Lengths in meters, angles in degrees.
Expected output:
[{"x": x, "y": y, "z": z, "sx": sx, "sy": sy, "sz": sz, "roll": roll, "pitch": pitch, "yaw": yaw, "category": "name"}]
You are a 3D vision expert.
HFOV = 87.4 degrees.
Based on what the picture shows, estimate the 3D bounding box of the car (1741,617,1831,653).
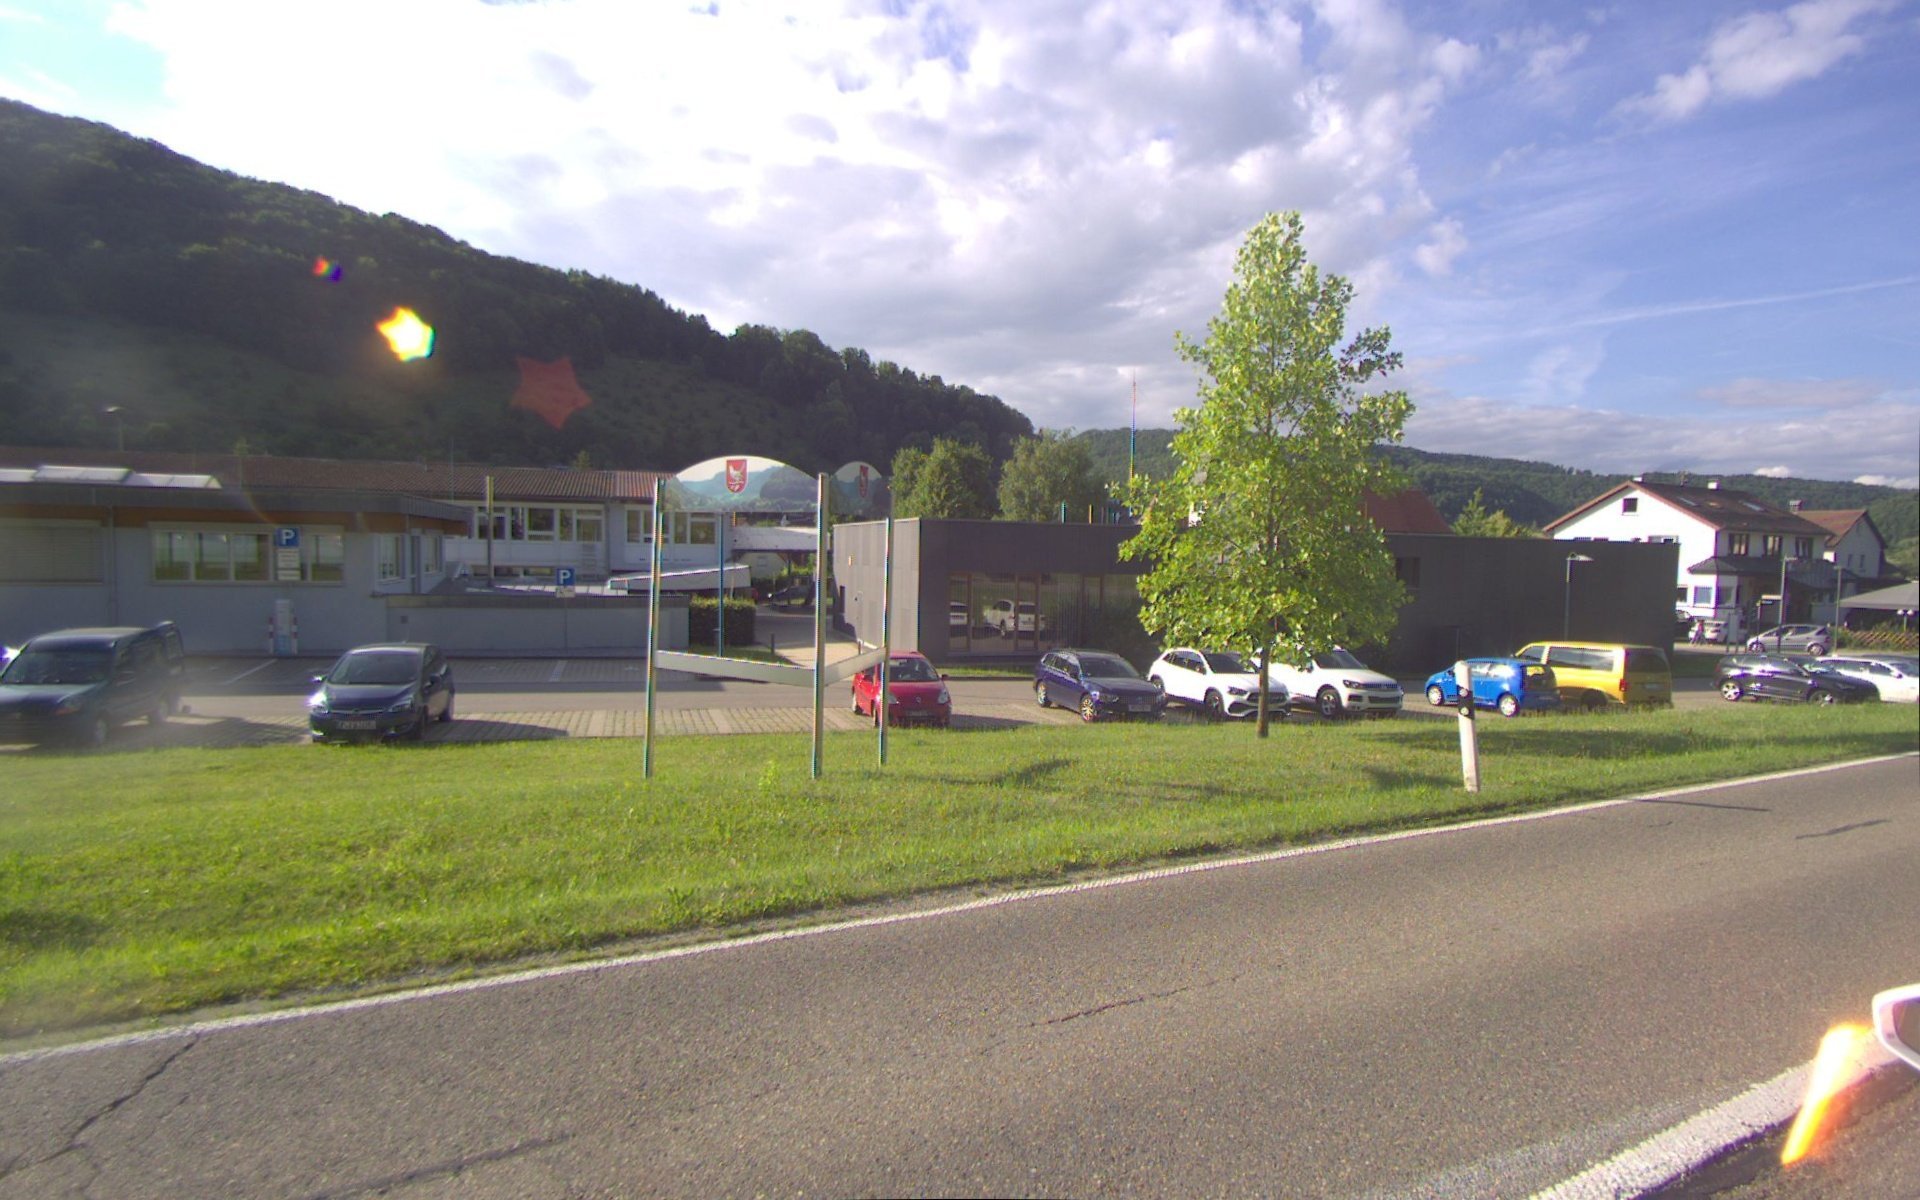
[{"x": 43.404, "y": 1.818, "z": 52.790, "sx": 1.728, "sy": 1.684, "sz": 3.428, "roll": 2, "pitch": 0, "yaw": -42, "category": "car"}]

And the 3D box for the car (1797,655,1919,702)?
[{"x": 32.172, "y": 2.732, "z": 35.235, "sx": 1.736, "sy": 1.327, "sz": 3.976, "roll": 2, "pitch": 0, "yaw": -24, "category": "car"}]

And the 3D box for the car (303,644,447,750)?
[{"x": -10.572, "y": 1.670, "z": 18.435, "sx": 1.660, "sy": 1.471, "sz": 4.000, "roll": -1, "pitch": 1, "yaw": -21, "category": "car"}]

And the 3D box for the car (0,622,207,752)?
[{"x": -15.153, "y": 1.396, "z": 17.710, "sx": 1.660, "sy": 1.817, "sz": 4.982, "roll": 2, "pitch": 0, "yaw": -21, "category": "car"}]

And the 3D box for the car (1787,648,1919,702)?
[{"x": 30.785, "y": 2.487, "z": 33.407, "sx": 1.852, "sy": 1.513, "sz": 4.807, "roll": 2, "pitch": 0, "yaw": -20, "category": "car"}]

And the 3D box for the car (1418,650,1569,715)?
[{"x": 14.787, "y": 2.261, "z": 28.023, "sx": 1.609, "sy": 1.492, "sz": 3.487, "roll": 2, "pitch": 0, "yaw": -22, "category": "car"}]

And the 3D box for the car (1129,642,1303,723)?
[{"x": 6.172, "y": 1.962, "z": 24.826, "sx": 1.970, "sy": 1.575, "sz": 4.533, "roll": 2, "pitch": 0, "yaw": -20, "category": "car"}]

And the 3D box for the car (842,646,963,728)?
[{"x": -1.335, "y": 1.805, "z": 21.649, "sx": 1.591, "sy": 1.416, "sz": 3.716, "roll": 2, "pitch": 0, "yaw": -20, "category": "car"}]

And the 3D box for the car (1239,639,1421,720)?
[{"x": 9.452, "y": 1.988, "z": 26.112, "sx": 1.970, "sy": 1.725, "sz": 4.533, "roll": 2, "pitch": 0, "yaw": -20, "category": "car"}]

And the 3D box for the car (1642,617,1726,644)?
[{"x": 43.429, "y": 1.842, "z": 60.262, "sx": 3.926, "sy": 1.461, "sz": 1.768, "roll": 2, "pitch": 0, "yaw": -8, "category": "car"}]

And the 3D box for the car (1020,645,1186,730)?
[{"x": 3.225, "y": 1.978, "z": 23.725, "sx": 1.970, "sy": 1.575, "sz": 4.533, "roll": 2, "pitch": 0, "yaw": -20, "category": "car"}]

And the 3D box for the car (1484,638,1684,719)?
[{"x": 17.397, "y": 2.125, "z": 28.311, "sx": 1.967, "sy": 1.893, "sz": 4.609, "roll": 2, "pitch": 0, "yaw": -16, "category": "car"}]

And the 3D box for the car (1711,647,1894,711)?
[{"x": 26.644, "y": 2.460, "z": 31.937, "sx": 1.970, "sy": 1.659, "sz": 4.019, "roll": 2, "pitch": 0, "yaw": -20, "category": "car"}]
